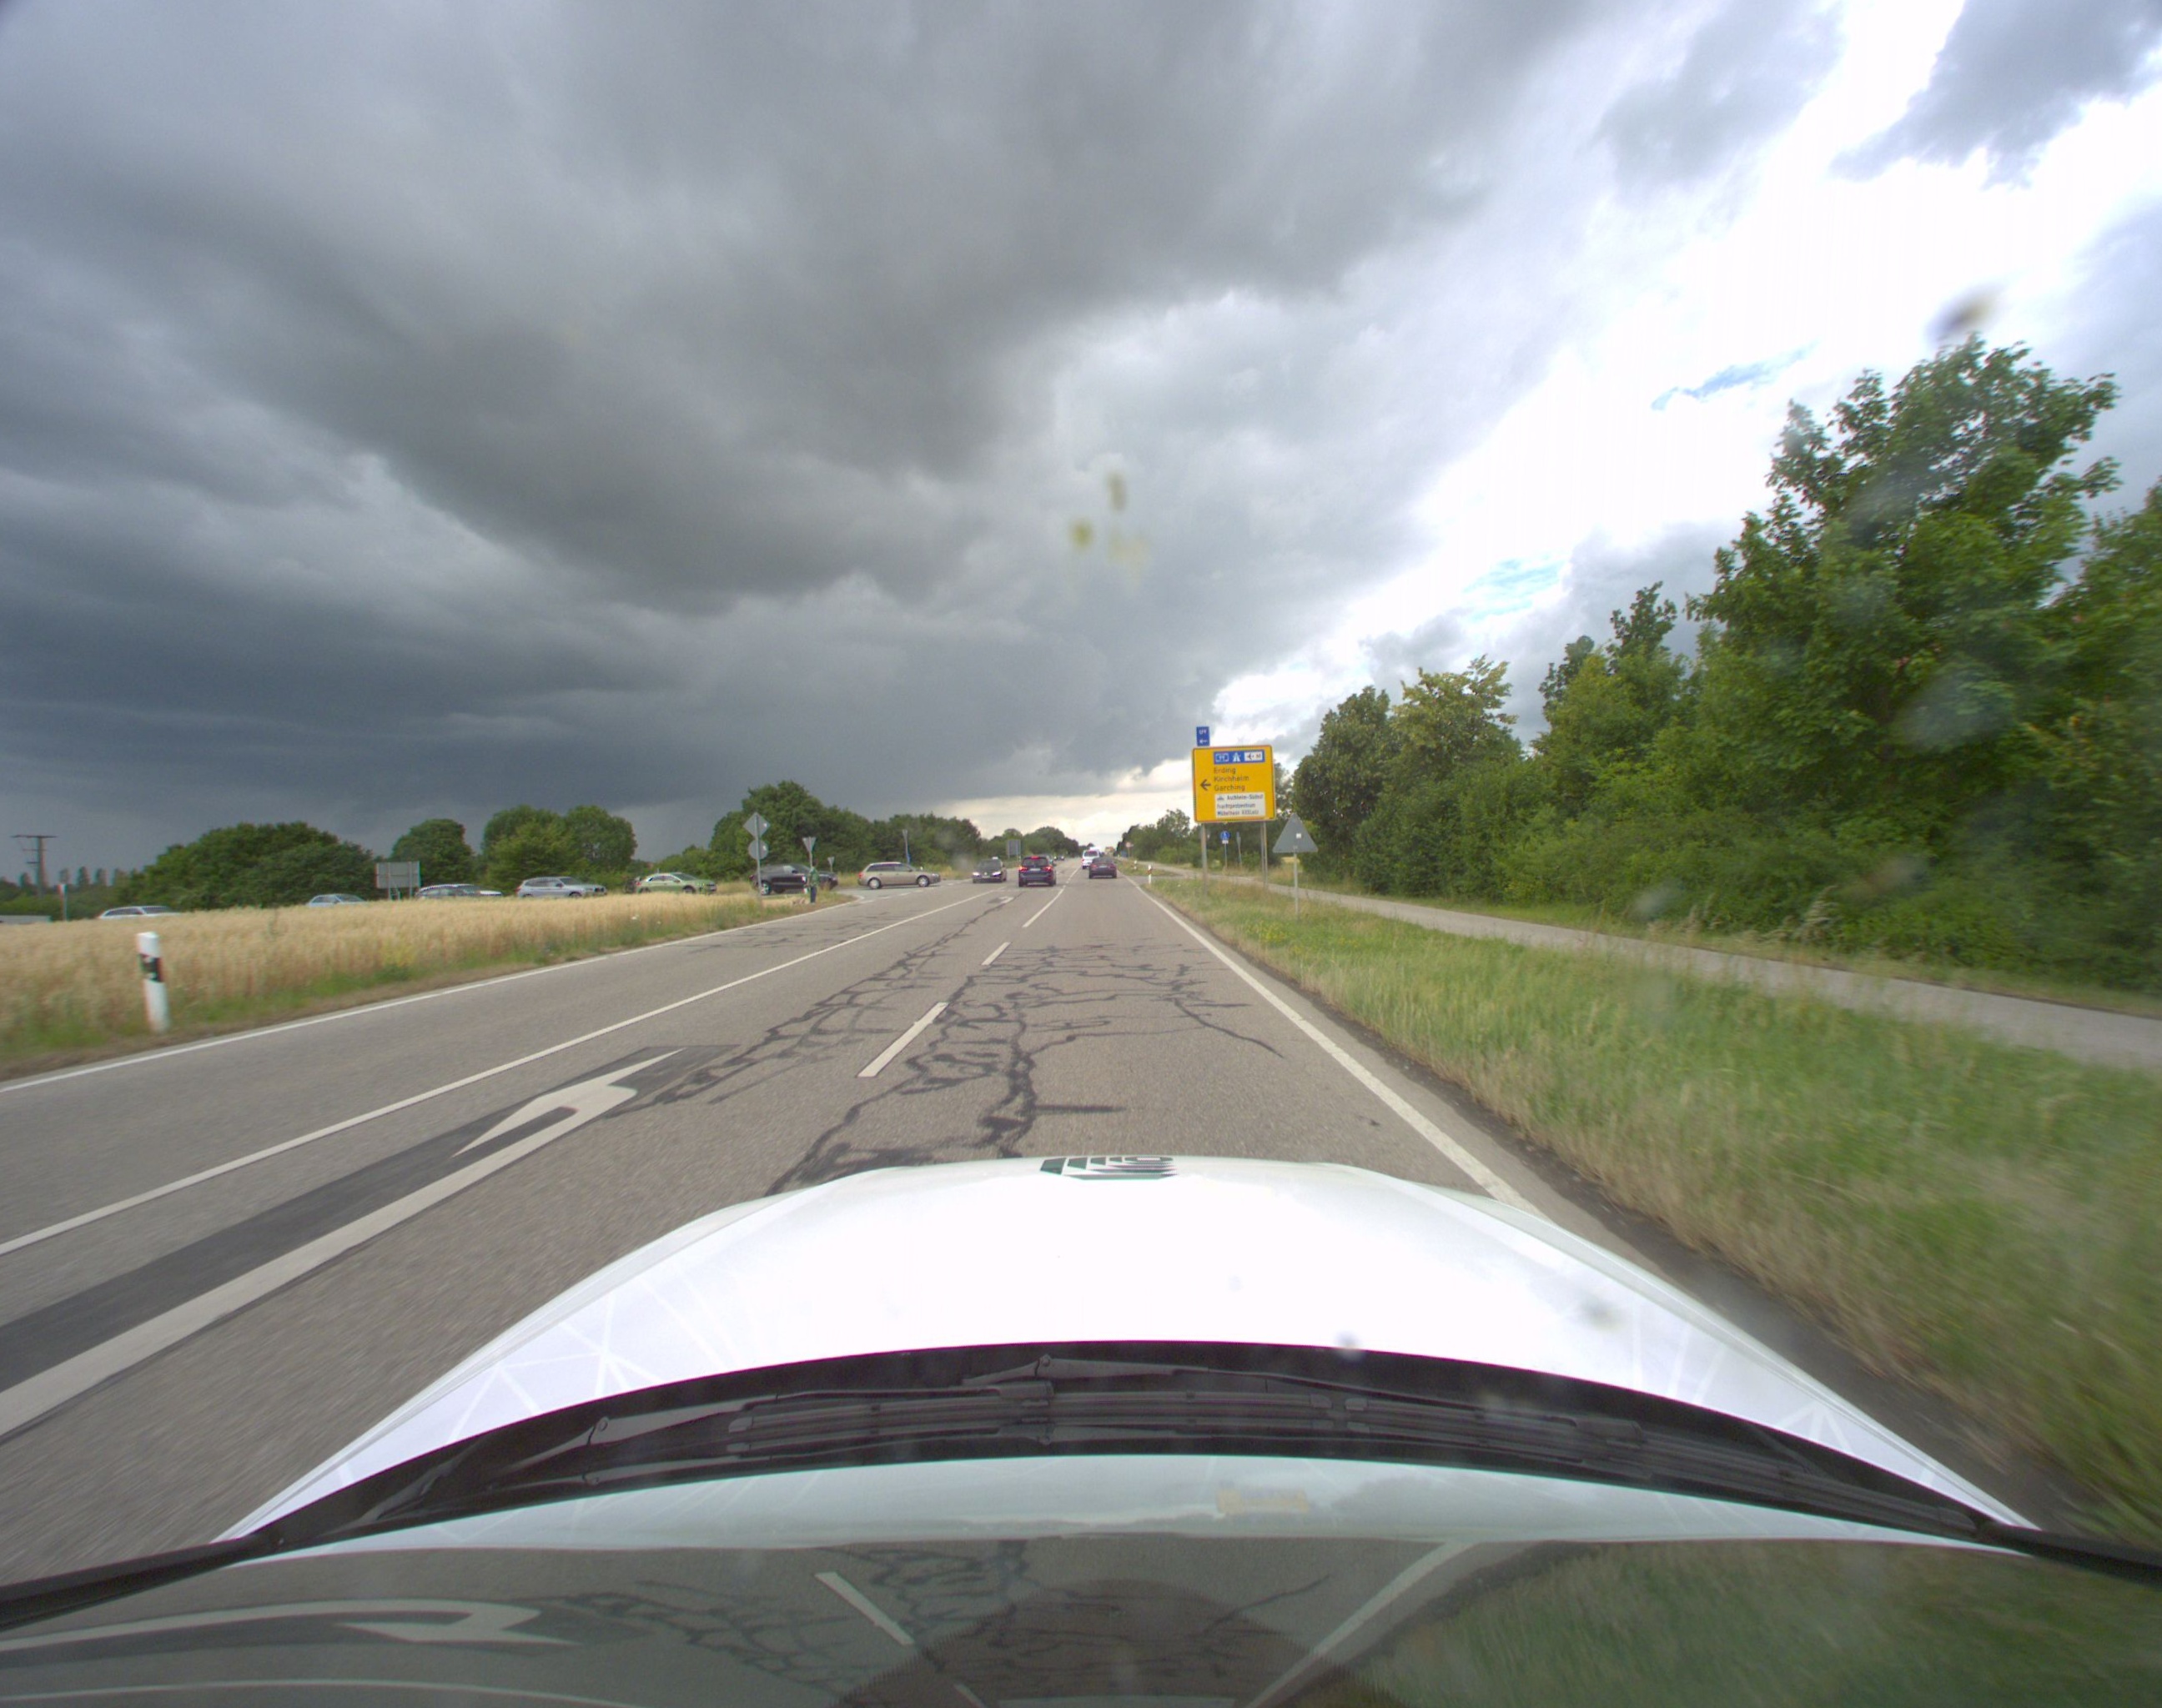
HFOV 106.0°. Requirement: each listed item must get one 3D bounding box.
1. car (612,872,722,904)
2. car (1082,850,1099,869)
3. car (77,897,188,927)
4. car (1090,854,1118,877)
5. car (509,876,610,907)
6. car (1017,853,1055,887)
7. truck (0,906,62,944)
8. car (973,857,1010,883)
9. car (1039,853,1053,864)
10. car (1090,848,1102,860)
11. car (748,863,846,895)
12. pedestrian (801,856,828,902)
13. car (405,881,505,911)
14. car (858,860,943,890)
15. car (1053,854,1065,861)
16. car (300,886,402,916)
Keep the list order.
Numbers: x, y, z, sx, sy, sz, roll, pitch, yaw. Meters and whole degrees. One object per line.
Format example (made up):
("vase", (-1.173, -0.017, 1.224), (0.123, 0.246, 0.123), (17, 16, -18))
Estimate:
("car", (-23.235, 1.885, 45.783), (5.256, 1.521, 1.915), (-2, 0, 7))
("car", (0.987, 0.543, 84.430), (1.779, 1.890, 4.000), (-1, 0, 1))
("car", (-55.995, 3.433, 48.126), (4.471, 1.482, 1.913), (-2, 0, 4))
("car", (1.489, 0.765, 53.663), (1.779, 1.424, 4.000), (-1, 0, 1))
("car", (-29.568, 2.135, 46.244), (4.599, 1.517, 1.915), (-2, 0, 7))
("car", (-2.302, 0.795, 42.903), (1.697, 1.611, 4.482), (-2, 0, 0))
("truck", (-98.651, 6.584, 72.976), (2.808, 3.133, 16.172), (-2, 0, -28))
("car", (-5.500, 0.957, 50.354), (1.673, 1.521, 4.397), (-1, 0, 1))
("car", (-5.025, 0.677, 116.655), (1.736, 1.530, 4.199), (0, 1, 0))
("car", (3.235, 0.047, 170.012), (2.438, 2.504, 5.043), (-1, 0, 1))
("car", (-15.777, 1.370, 45.306), (4.714, 1.532, 1.915), (-2, 0, 7))
("pedestrian", (-9.625, 0.894, 29.437), (0.591, 1.605, 0.865), (-5, 0, -1))
("car", (-36.349, 2.431, 47.325), (4.467, 1.482, 1.915), (-2, 0, 7))
("car", (-10.093, 1.153, 45.791), (4.446, 1.424, 1.906), (-2, 0, -7))
("car", (-4.199, 0.624, 158.340), (2.157, 1.285, 4.237), (1, 0, 0))
("car", (-42.806, 2.742, 47.779), (4.467, 1.482, 1.915), (-2, 0, 7))
